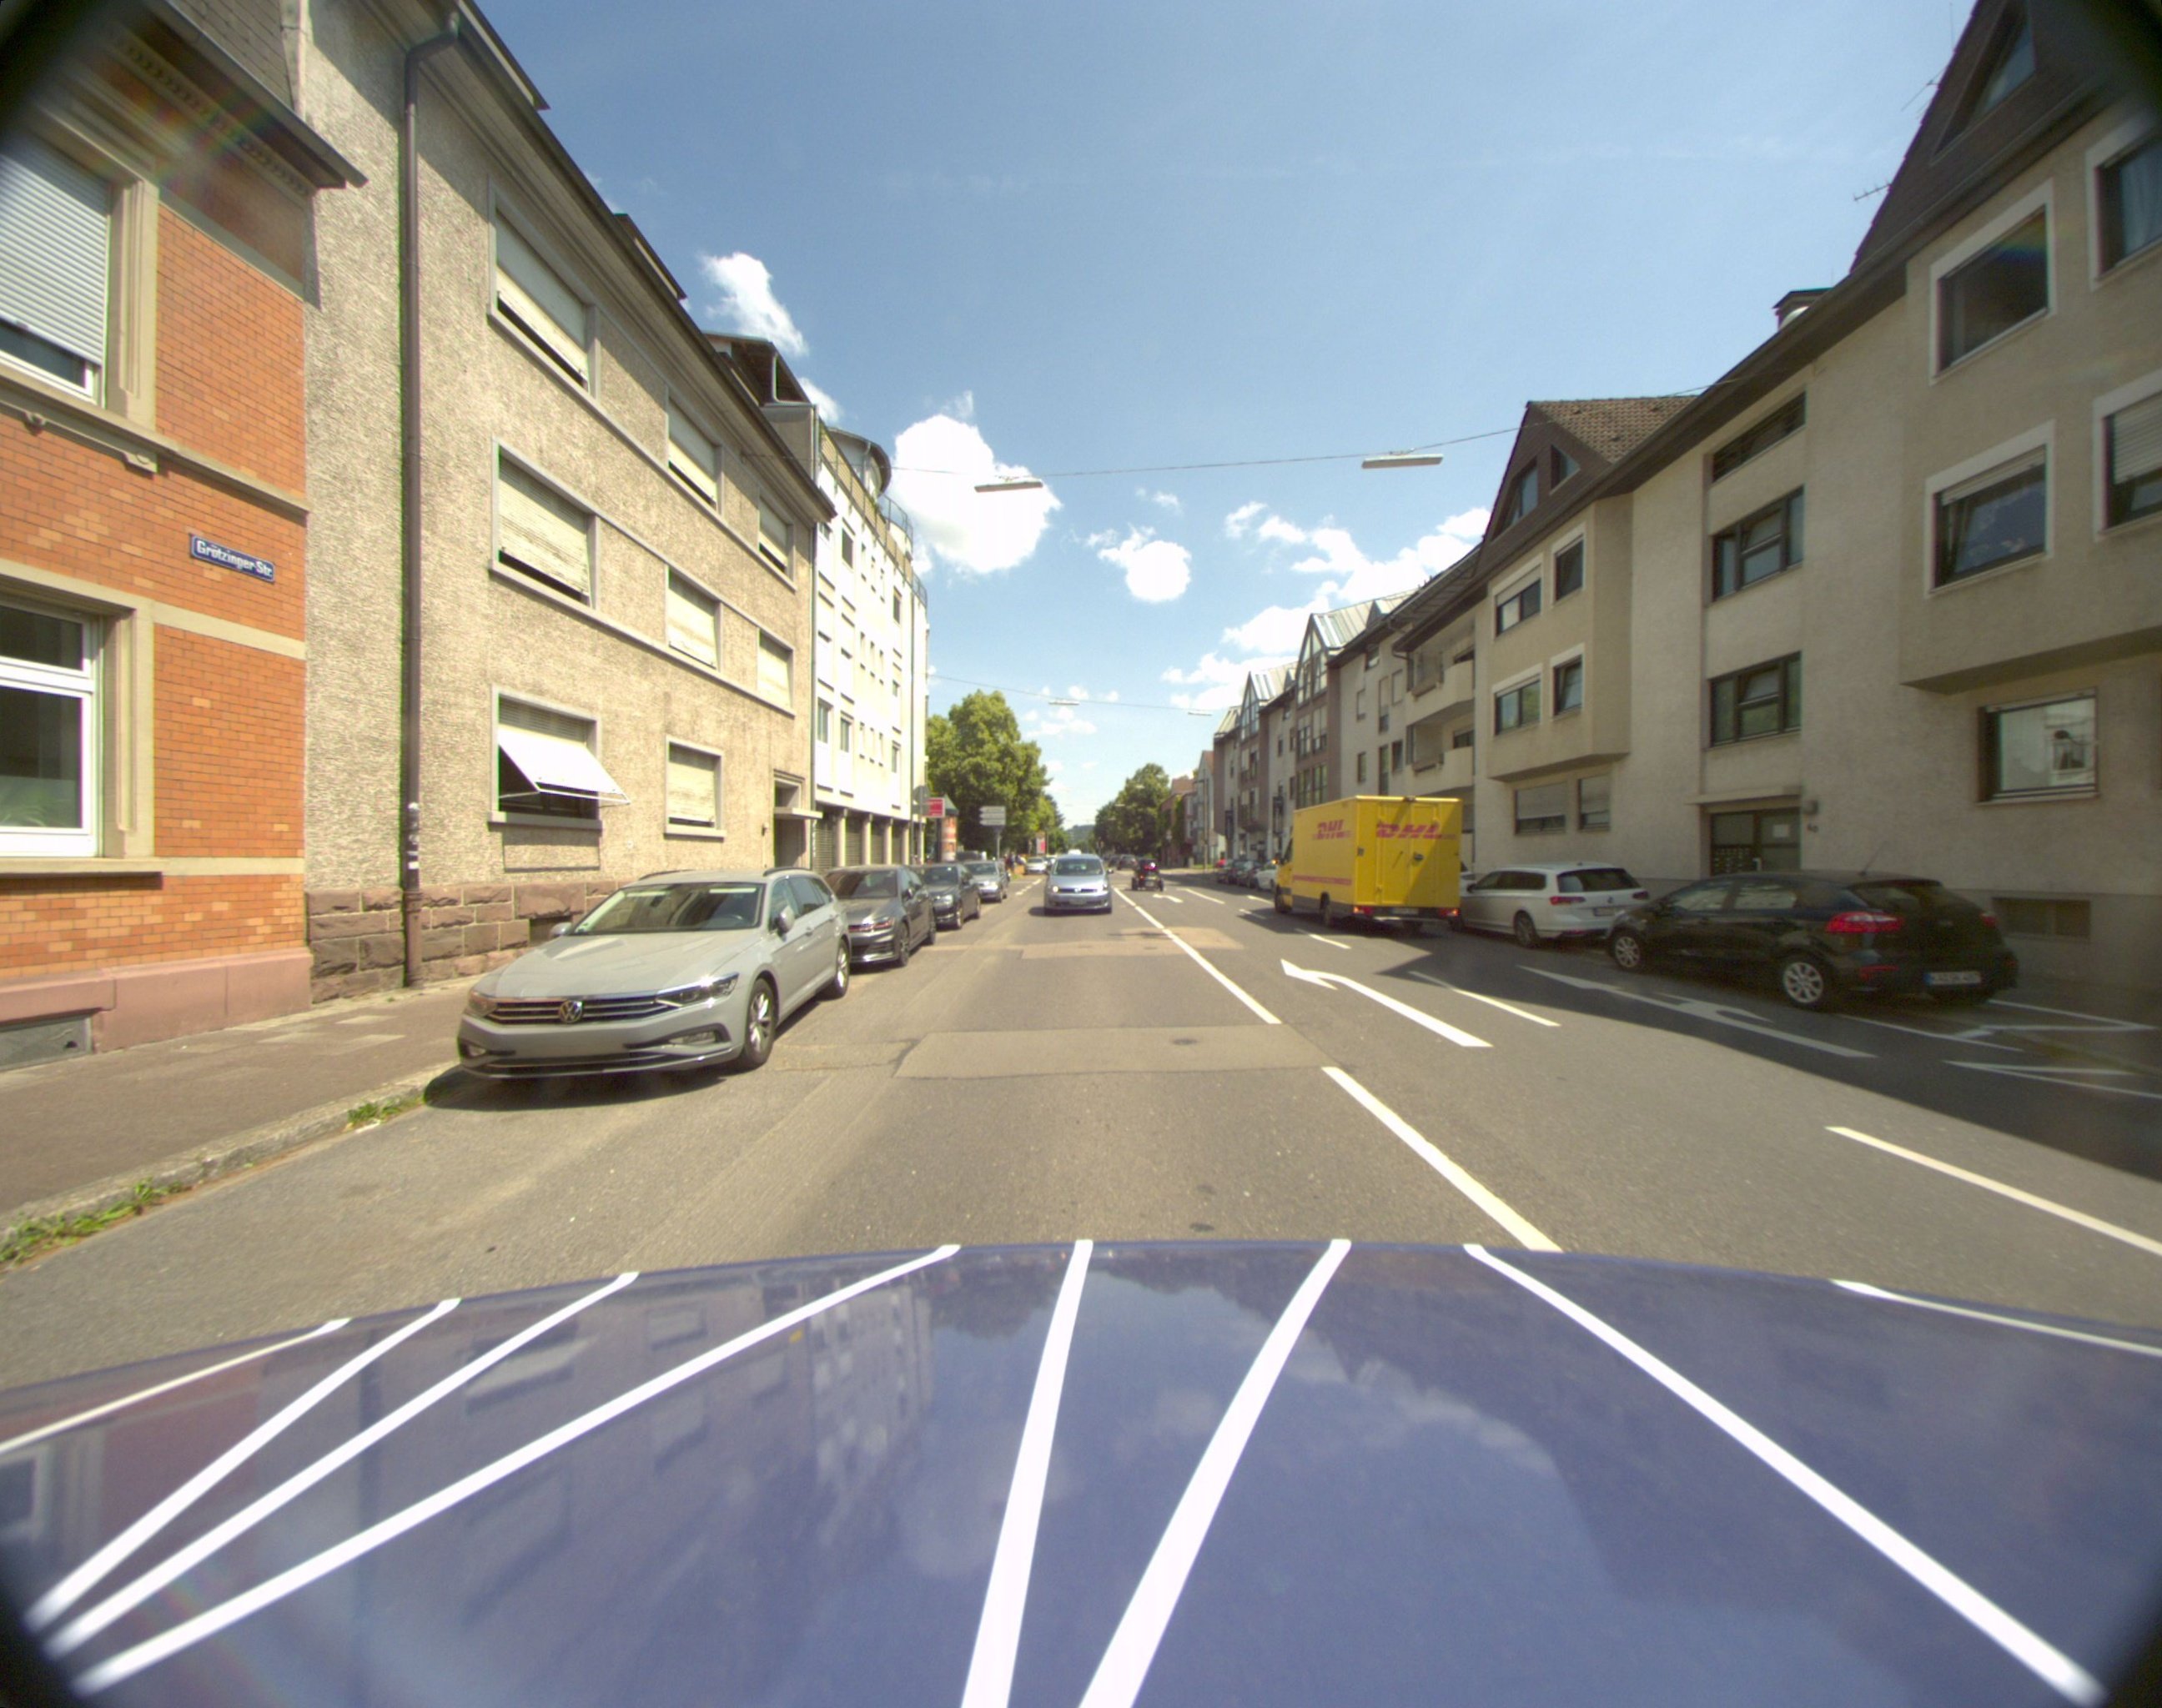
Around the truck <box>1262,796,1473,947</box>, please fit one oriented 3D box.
[{"bbox_3d":[6.302,0.334,18.120,2.231,2.755,7.564,2,0,1],"label":"truck"}]

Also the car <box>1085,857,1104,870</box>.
[{"bbox_3d":[1.556,1.066,88.907,1.868,1.516,4.291,0,0,-3],"label":"car"}]

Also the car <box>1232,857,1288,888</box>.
[{"bbox_3d":[9.131,0.910,39.147,1.844,1.376,4.326,-1,0,0],"label":"car"}]

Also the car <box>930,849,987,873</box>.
[{"bbox_3d":[-9.142,0.507,57.106,3.997,1.740,2.016,0,1,-1],"label":"car"}]

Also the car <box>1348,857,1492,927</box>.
[{"bbox_3d":[8.876,0.924,20.343,1.844,1.586,4.386,-1,0,0],"label":"car"}]

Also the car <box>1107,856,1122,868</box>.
[{"bbox_3d":[4.241,0.969,97.293,1.747,1.411,4.223,2,0,1],"label":"car"}]

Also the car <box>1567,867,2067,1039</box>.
[{"bbox_3d":[8.429,0.981,9.459,1.844,1.479,4.502,-1,0,0],"label":"car"}]

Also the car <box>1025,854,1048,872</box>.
[{"bbox_3d":[-3.639,0.713,62.381,1.771,1.476,3.890,0,0,-1],"label":"car"}]

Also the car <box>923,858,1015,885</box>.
[{"bbox_3d":[-5.826,0.907,40.013,4.593,1.357,1.999,0,0,-2],"label":"car"}]

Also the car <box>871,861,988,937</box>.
[{"bbox_3d":[-3.319,0.922,17.504,1.716,1.464,4.438,1,0,1],"label":"car"}]

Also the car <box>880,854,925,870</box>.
[{"bbox_3d":[-17.863,0.758,76.121,3.996,1.464,1.804,2,1,1],"label":"car"}]

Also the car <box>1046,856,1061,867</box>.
[{"bbox_3d":[-3.586,0.997,98.995,1.721,1.434,4.111,-1,0,1],"label":"car"}]

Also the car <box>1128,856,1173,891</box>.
[{"bbox_3d":[3.024,0.825,33.417,1.501,1.450,2.721,1,0,-5],"label":"car"}]

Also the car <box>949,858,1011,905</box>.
[{"bbox_3d":[-3.433,0.899,26.490,1.682,1.446,4.142,-1,0,-2],"label":"car"}]

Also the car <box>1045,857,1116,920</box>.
[{"bbox_3d":[-0.030,0.858,21.011,1.747,1.513,4.222,1,0,0],"label":"car"}]

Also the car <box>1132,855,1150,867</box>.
[{"bbox_3d":[8.045,0.903,102.903,1.891,1.531,4.567,1,0,-2],"label":"car"}]

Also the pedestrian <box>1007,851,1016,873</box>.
[{"bbox_3d":[-5.784,0.654,63.215,0.618,1.754,0.737,0,1,-1],"label":"pedestrian"}]

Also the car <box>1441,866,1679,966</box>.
[{"bbox_3d":[8.736,1.037,14.401,1.844,1.479,4.387,-1,0,2],"label":"car"}]

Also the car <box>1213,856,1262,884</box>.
[{"bbox_3d":[9.026,0.872,44.165,1.844,1.439,4.968,-1,0,1],"label":"car"}]

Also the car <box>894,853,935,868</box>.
[{"bbox_3d":[-18.319,0.702,83.779,3.996,1.464,1.804,2,1,1],"label":"car"}]

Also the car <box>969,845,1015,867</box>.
[{"bbox_3d":[-9.486,0.171,81.411,4.614,2.263,2.106,-1,0,0],"label":"car"}]

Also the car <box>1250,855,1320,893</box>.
[{"bbox_3d":[8.984,0.833,33.852,1.844,1.480,4.385,-1,0,-1],"label":"car"}]

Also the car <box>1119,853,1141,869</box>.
[{"bbox_3d":[5.092,0.739,79.194,1.817,1.611,4.441,2,-1,-1],"label":"car"}]

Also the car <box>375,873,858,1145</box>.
[{"bbox_3d":[-3.392,0.964,6.786,1.859,1.455,4.548,0,0,-5],"label":"car"}]

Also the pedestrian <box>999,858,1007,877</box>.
[{"bbox_3d":[-6.460,1.133,63.093,0.618,1.584,0.737,0,1,-1],"label":"pedestrian"}]

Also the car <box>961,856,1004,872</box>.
[{"bbox_3d":[-9.740,0.962,75.262,3.996,1.464,1.717,-1,1,1],"label":"car"}]

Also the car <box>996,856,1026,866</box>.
[{"bbox_3d":[-9.116,0.909,98.913,3.849,1.350,1.628,0,0,-9],"label":"car"}]

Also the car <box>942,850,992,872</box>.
[{"bbox_3d":[-8.959,0.539,59.760,3.774,1.657,1.663,1,0,-5],"label":"car"}]

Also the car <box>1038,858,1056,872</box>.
[{"bbox_3d":[-3.471,1.088,77.771,1.667,1.420,4.000,0,0,0],"label":"car"}]

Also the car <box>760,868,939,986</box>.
[{"bbox_3d":[-3.323,0.970,11.722,1.656,1.412,4.047,1,0,-2],"label":"car"}]

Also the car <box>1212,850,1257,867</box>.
[{"bbox_3d":[15.049,0.407,74.439,3.998,1.443,1.733,-3,-1,-2],"label":"car"}]

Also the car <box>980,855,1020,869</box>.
[{"bbox_3d":[-9.050,0.900,85.137,4.337,1.485,1.808,-1,0,-2],"label":"car"}]
